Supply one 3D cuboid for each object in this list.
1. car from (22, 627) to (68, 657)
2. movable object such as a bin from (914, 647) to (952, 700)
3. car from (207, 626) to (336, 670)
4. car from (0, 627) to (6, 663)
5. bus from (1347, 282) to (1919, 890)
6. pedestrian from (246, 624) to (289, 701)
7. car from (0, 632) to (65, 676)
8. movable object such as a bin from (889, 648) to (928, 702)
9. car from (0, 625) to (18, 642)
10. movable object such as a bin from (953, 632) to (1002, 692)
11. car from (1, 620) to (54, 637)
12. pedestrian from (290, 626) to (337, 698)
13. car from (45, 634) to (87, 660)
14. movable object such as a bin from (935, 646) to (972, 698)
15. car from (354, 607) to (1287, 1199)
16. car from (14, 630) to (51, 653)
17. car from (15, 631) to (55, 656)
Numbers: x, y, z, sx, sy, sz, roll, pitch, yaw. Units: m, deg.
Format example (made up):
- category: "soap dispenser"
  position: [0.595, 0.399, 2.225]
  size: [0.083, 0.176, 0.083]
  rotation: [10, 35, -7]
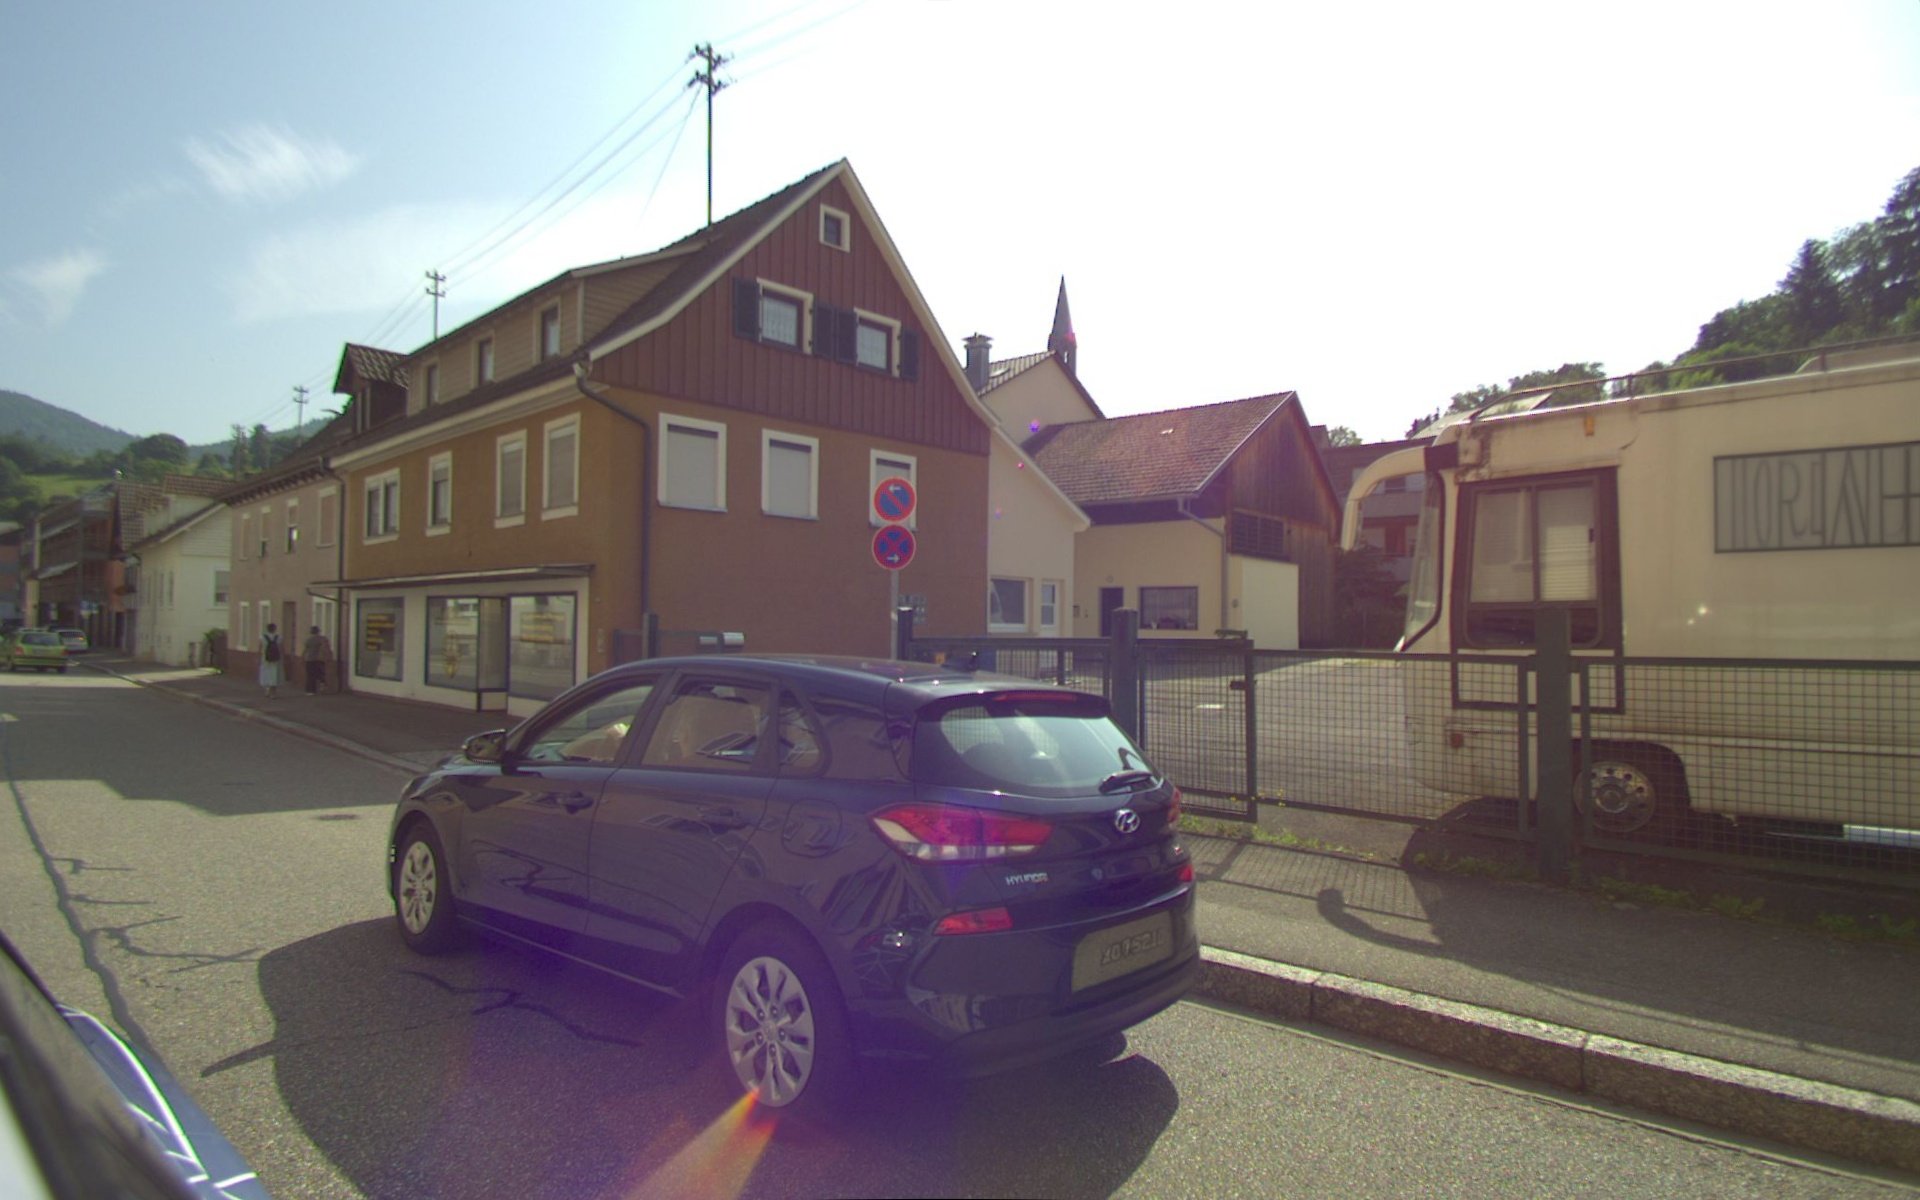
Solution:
- category: "car"
  position: [-57.537, 2.609, 63.596]
  size: [4.268, 1.810, 1.701]
  rotation: [-2, -2, 42]
- category: "movable object such as a bin"
  position: [-0.493, 1.326, 18.467]
  size: [0.486, 0.929, 0.472]
  rotation: [-2, -1, 44]
- category: "car"
  position: [-27.455, 1.874, 40.454]
  size: [1.907, 1.606, 3.944]
  rotation: [-2, -1, 42]
- category: "car"
  position: [-47.080, 2.146, 47.487]
  size: [3.971, 1.675, 1.811]
  rotation: [-2, -3, 21]
- category: "bus"
  position: [7.160, -0.113, 5.474]
  size: [9.033, 3.253, 2.790]
  rotation: [-2, -1, 42]
- category: "pedestrian"
  position: [-15.255, 1.361, 22.296]
  size: [0.632, 1.638, 0.778]
  rotation: [-1, -1, -44]
- category: "car"
  position: [-34.072, 1.946, 36.861]
  size: [3.656, 1.475, 1.580]
  rotation: [-1, -6, 40]
- category: "movable object such as a bin"
  position: [-0.913, 1.324, 18.004]
  size: [0.486, 0.929, 0.472]
  rotation: [-2, -1, 44]
- category: "car"
  position: [-95.760, 3.344, 101.415]
  size: [3.889, 1.587, 1.763]
  rotation: [-1, 1, 43]
- category: "movable object such as a bin"
  position: [0.330, 1.178, 19.320]
  size: [0.744, 1.102, 0.537]
  rotation: [-2, -1, 44]
- category: "car"
  position: [-100.540, 3.095, 109.139]
  size: [1.831, 1.697, 3.952]
  rotation: [-3, -3, 35]
- category: "pedestrian"
  position: [-14.731, 1.391, 23.062]
  size: [0.726, 1.576, 0.825]
  rotation: [-1, -1, -45]
- category: "car"
  position: [-53.068, 2.763, 60.028]
  size: [3.570, 1.443, 1.647]
  rotation: [-3, -2, 45]
- category: "movable object such as a bin"
  position: [-0.129, 1.327, 18.862]
  size: [0.486, 0.929, 0.472]
  rotation: [-2, -1, 44]
- category: "car"
  position: [-0.873, 0.892, 4.383]
  size: [4.024, 1.464, 1.729]
  rotation: [-3, -7, 40]
- category: "car"
  position: [-66.308, 2.967, 72.312]
  size: [3.764, 1.567, 1.656]
  rotation: [-2, -2, 43]
- category: "car"
  position: [-61.794, 2.908, 67.609]
  size: [3.949, 1.602, 1.656]
  rotation: [-2, -2, 43]
